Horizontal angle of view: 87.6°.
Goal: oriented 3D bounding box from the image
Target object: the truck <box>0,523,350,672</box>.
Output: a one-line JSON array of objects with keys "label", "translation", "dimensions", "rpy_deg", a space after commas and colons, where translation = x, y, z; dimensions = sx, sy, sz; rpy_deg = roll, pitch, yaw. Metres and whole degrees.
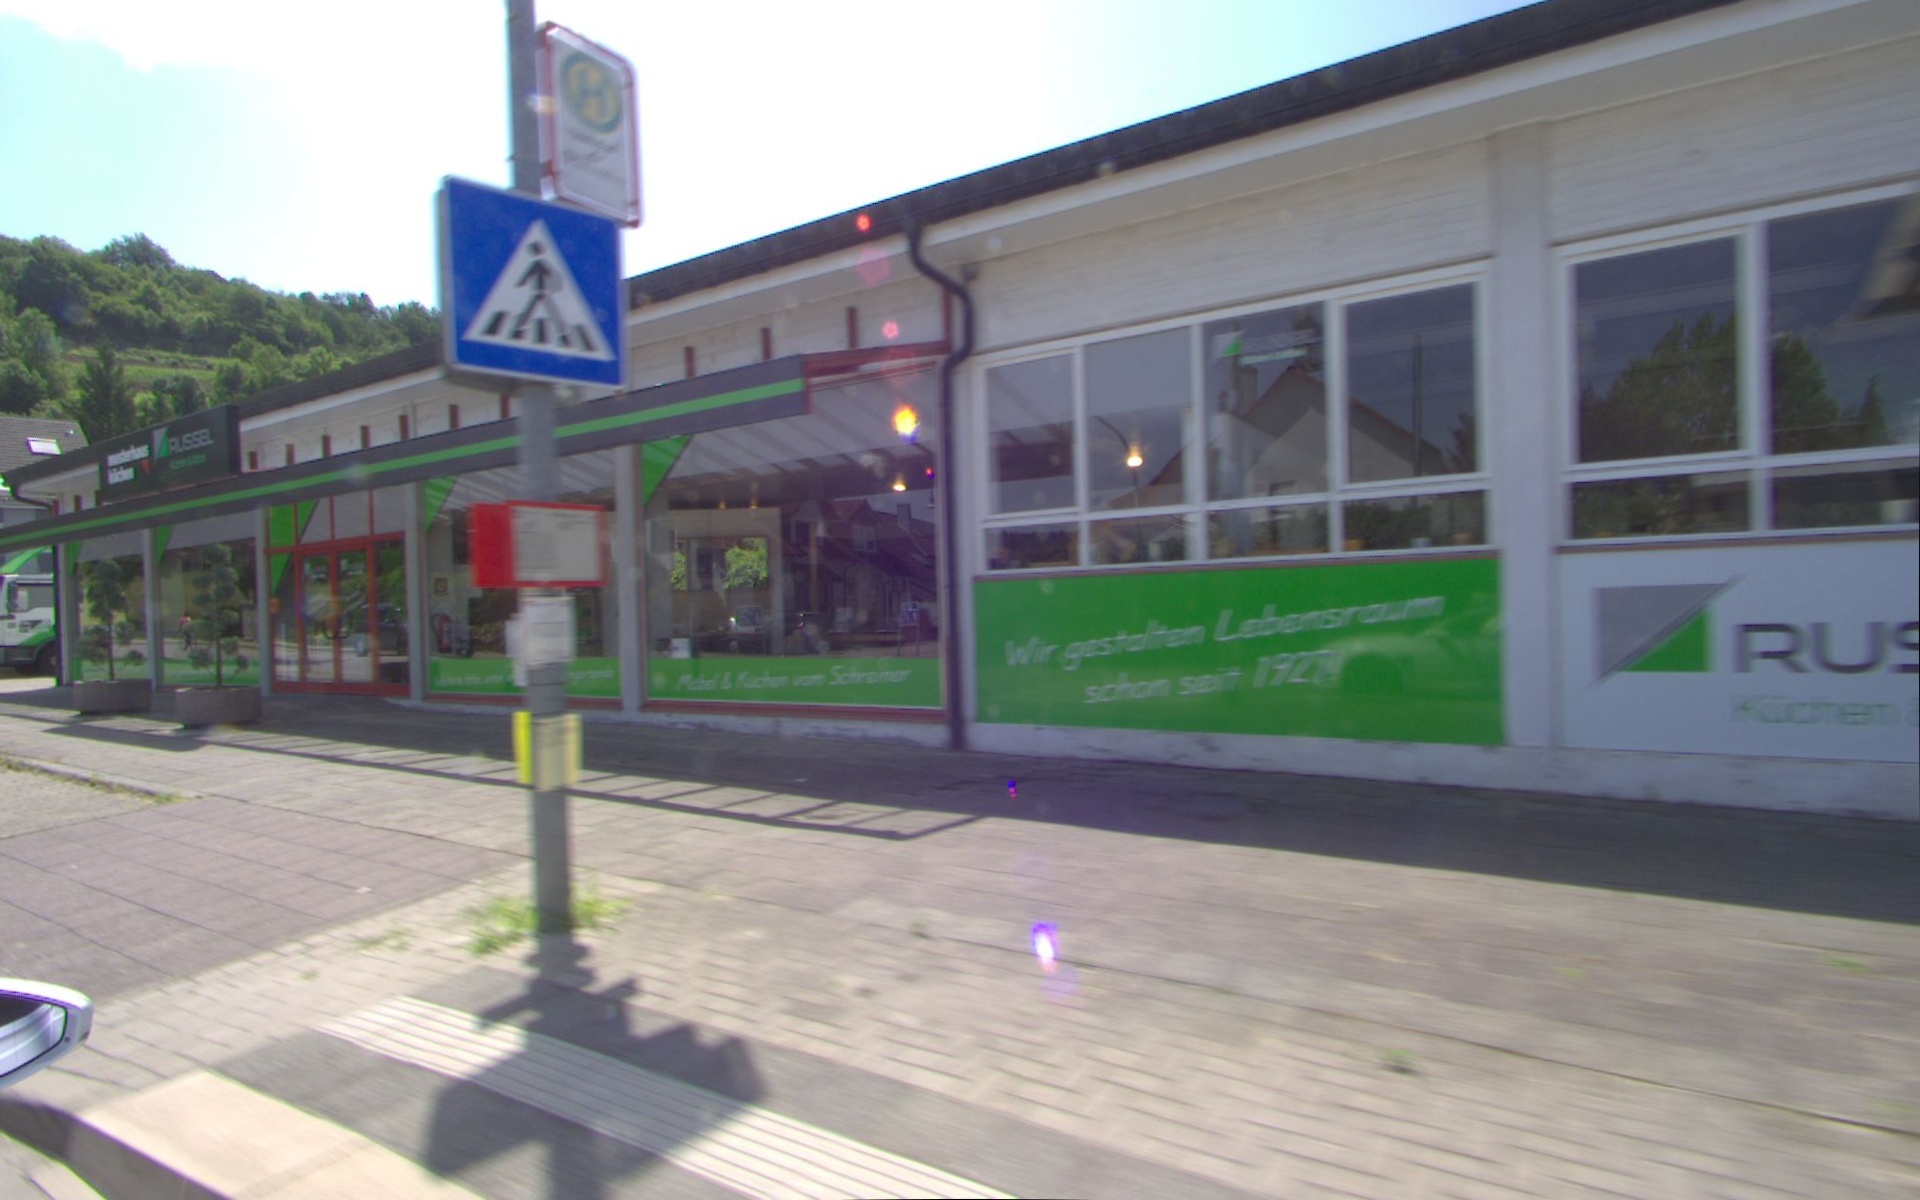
[{"label": "truck", "translation": [-22.277, 0.019, 28.397], "dimensions": [2.640, 3.618, 8.154], "rpy_deg": [-2, -1, 32]}]
